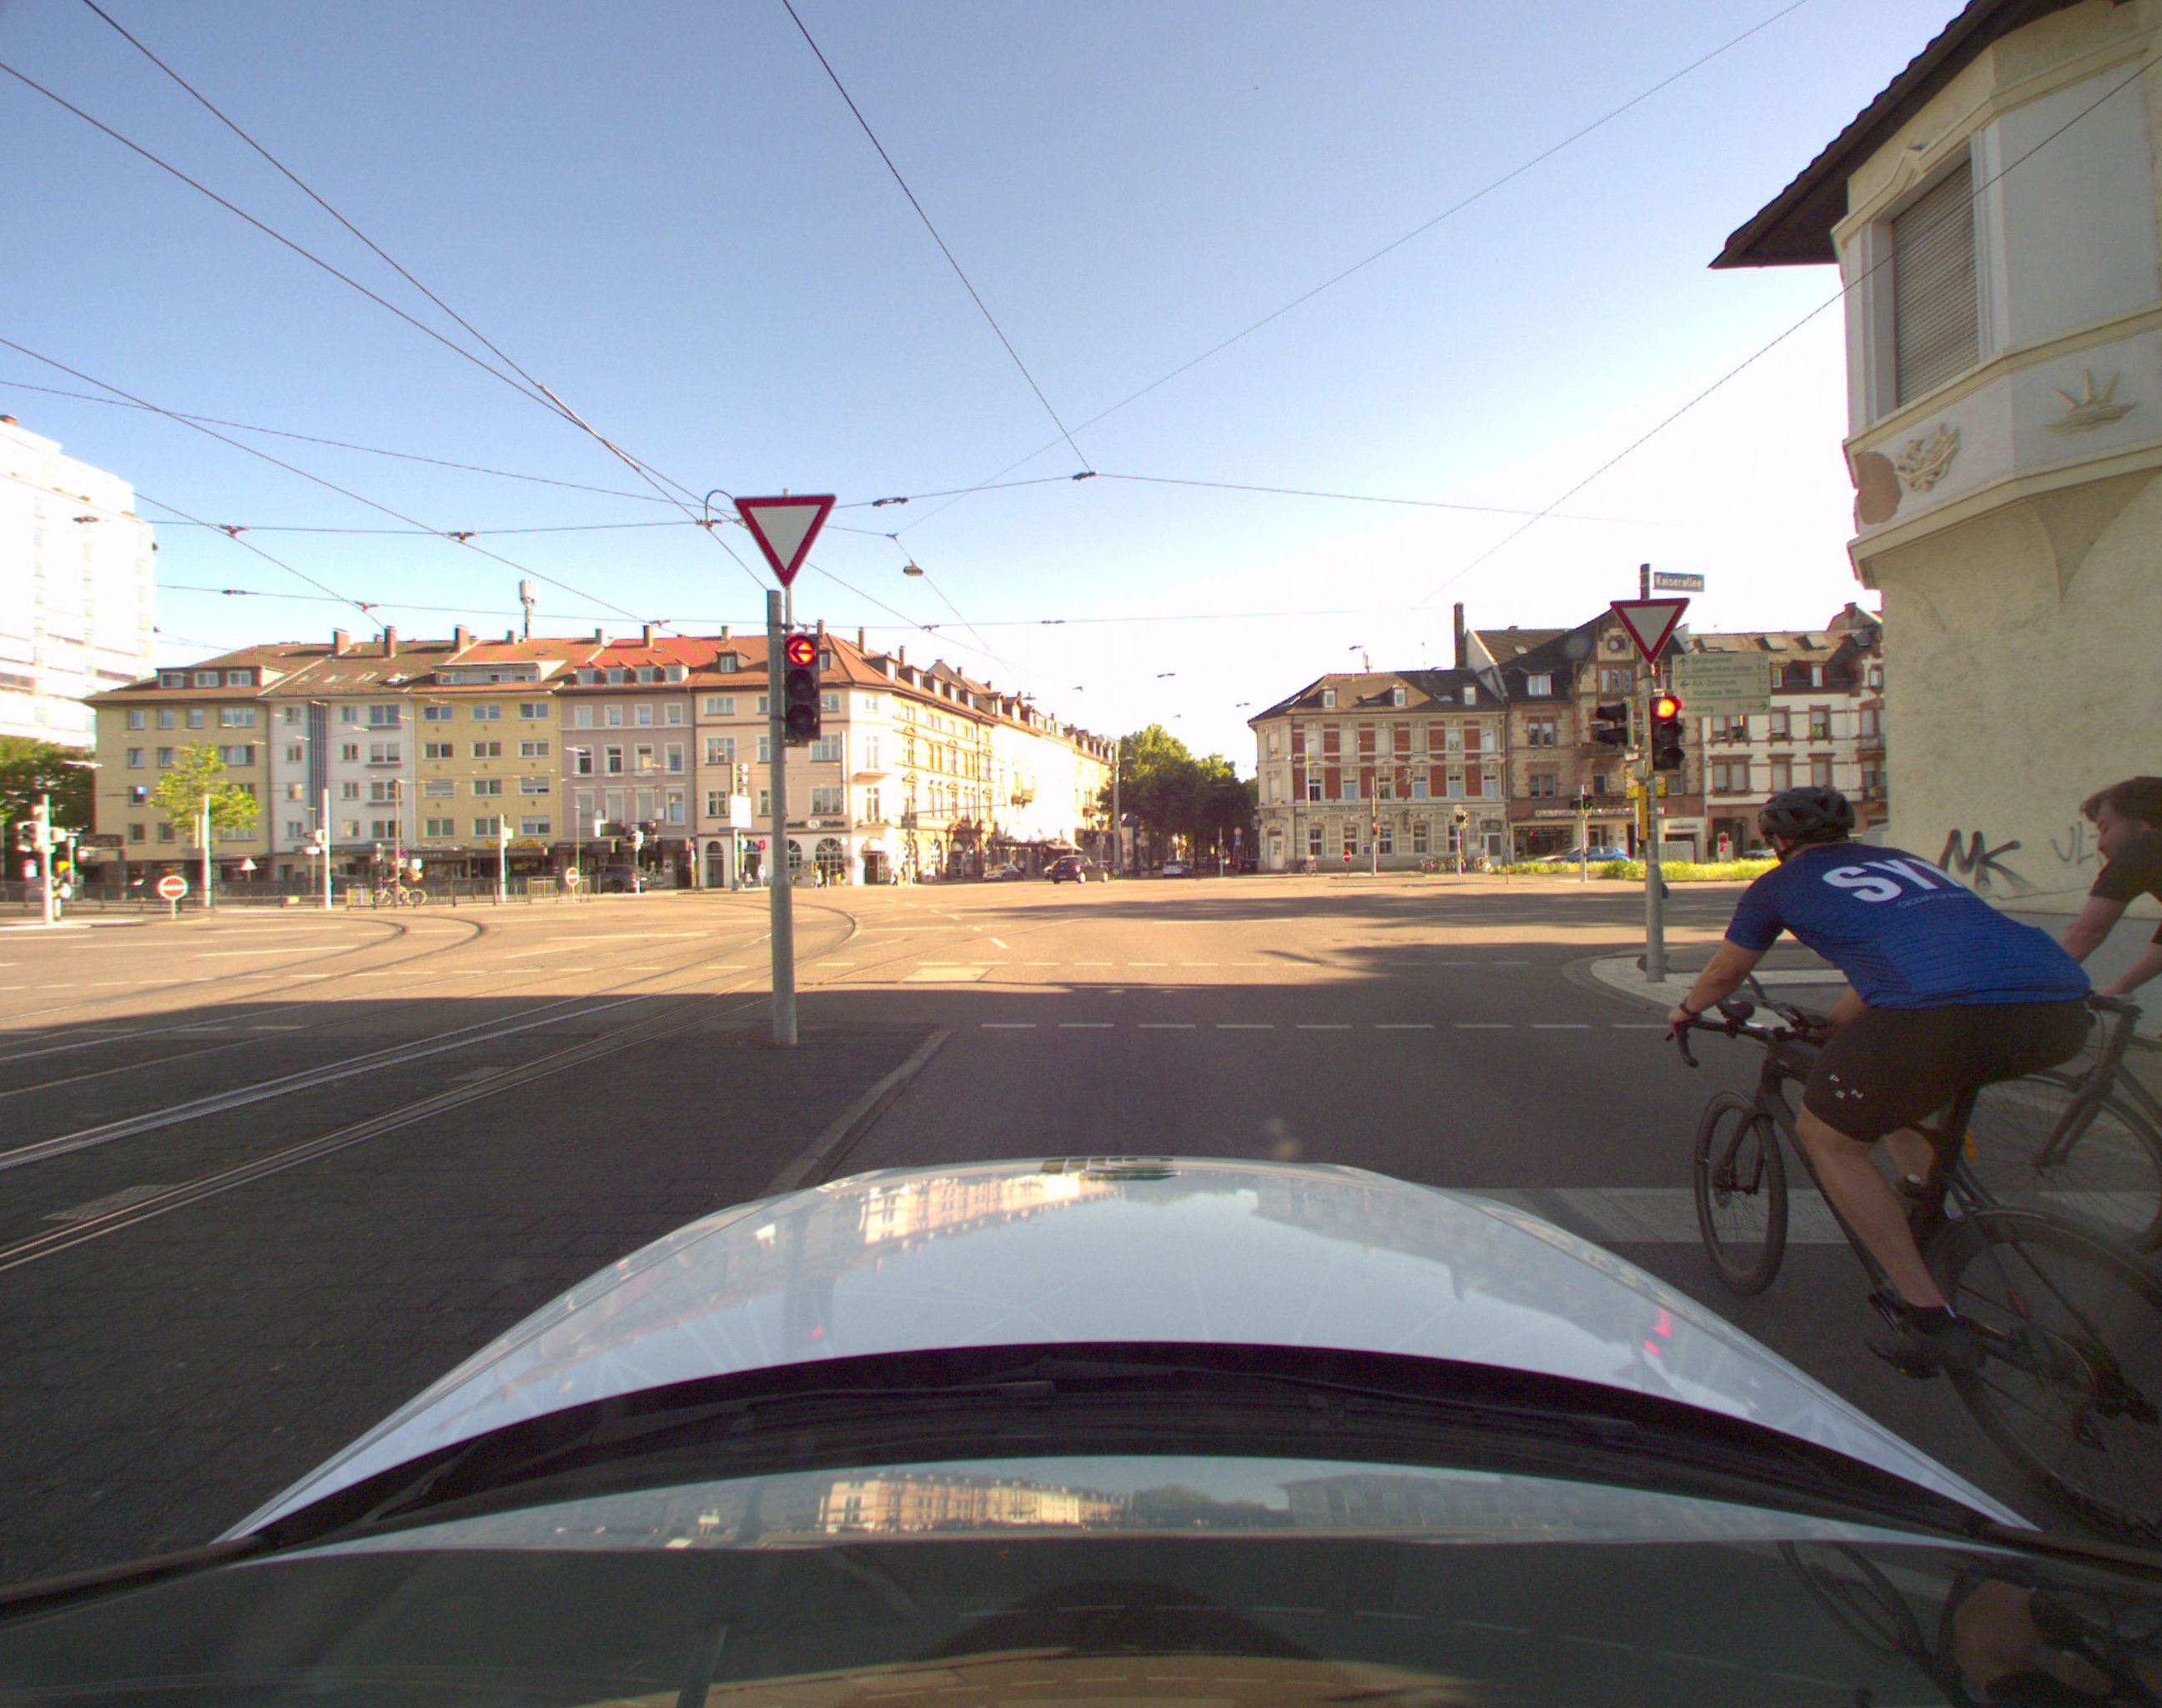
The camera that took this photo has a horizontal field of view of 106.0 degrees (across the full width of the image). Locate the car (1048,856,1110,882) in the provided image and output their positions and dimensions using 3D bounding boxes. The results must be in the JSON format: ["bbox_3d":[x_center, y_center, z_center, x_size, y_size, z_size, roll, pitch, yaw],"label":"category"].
[{"bbox_3d":[-0.047,0.775,44.377,1.737,1.362,3.879,-1,-1,28],"label":"car"}]

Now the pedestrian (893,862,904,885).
[{"bbox_3d":[-12.640,1.348,56.365,0.631,1.634,0.700,0,-1,-2],"label":"pedestrian"}]

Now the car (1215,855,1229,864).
[{"bbox_3d":[23.254,0.918,134.250,1.546,1.513,3.673,-1,-1,19],"label":"car"}]

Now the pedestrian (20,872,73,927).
[{"bbox_3d":[-31.587,1.389,24.870,0.697,1.634,0.681,0,-1,-3],"label":"pedestrian"}]

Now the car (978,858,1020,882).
[{"bbox_3d":[-6.742,1.319,67.394,1.977,1.904,4.019,-1,-1,19],"label":"car"}]

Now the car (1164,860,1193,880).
[{"bbox_3d":[7.823,1.233,65.011,1.759,1.530,4.015,-1,-1,14],"label":"car"}]

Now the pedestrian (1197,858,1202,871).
[{"bbox_3d":[16.257,1.421,111.748,0.635,1.796,0.492,-1,-1,14],"label":"pedestrian"}]

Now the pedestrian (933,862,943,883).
[{"bbox_3d":[-11.090,1.419,63.124,0.539,1.631,0.709,-1,-1,15],"label":"pedestrian"}]

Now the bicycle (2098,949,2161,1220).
[{"bbox_3d":[4.479,0.899,2.458,0.647,1.031,1.772,0,-1,3],"label":"bicycle"}]

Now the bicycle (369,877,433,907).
[{"bbox_3d":[-26.048,1.442,31.215,0.567,1.070,1.806,-1,-1,32],"label":"bicycle"}]

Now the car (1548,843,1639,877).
[{"bbox_3d":[28.339,0.325,45.135,3.769,1.778,2.000,0,-1,1],"label":"car"}]

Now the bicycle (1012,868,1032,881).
[{"bbox_3d":[-4.735,1.632,65.557,0.756,1.008,2.406,-1,-1,16],"label":"bicycle"}]

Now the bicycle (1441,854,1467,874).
[{"bbox_3d":[23.981,0.630,52.413,0.626,1.287,2.663,0,-1,3],"label":"bicycle"}]

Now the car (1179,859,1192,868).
[{"bbox_3d":[18.268,1.723,142.178,1.546,1.513,3.673,-1,-1,19],"label":"car"}]

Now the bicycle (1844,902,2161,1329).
[{"bbox_3d":[3.645,0.819,2.638,0.752,1.236,1.702,0,-1,0],"label":"bicycle"}]

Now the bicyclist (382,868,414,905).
[{"bbox_3d":[-26.095,1.223,31.139,0.553,1.366,0.808,-1,-1,33],"label":"bicyclist"}]

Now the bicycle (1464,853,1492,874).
[{"bbox_3d":[25.498,0.595,52.381,0.626,1.287,2.663,0,-1,3],"label":"bicycle"}]

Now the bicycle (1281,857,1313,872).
[{"bbox_3d":[15.078,0.748,56.890,2.040,0.998,0.631,-1,-1,4],"label":"bicycle"}]

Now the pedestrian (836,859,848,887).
[{"bbox_3d":[-16.025,1.264,54.608,0.631,1.881,0.465,0,-1,-2],"label":"pedestrian"}]

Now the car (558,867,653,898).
[{"bbox_3d":[-26.579,1.576,45.606,4.150,1.618,1.954,0,-1,1],"label":"car"}]

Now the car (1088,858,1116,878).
[{"bbox_3d":[2.098,1.402,80.059,1.979,1.904,4.015,-1,-1,14],"label":"car"}]

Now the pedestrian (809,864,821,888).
[{"bbox_3d":[-17.715,1.460,54.247,0.631,1.612,0.465,0,-1,-2],"label":"pedestrian"}]

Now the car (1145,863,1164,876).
[{"bbox_3d":[11.033,2.323,122.487,1.977,1.904,4.019,-1,-1,19],"label":"car"}]

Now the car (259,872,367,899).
[{"bbox_3d":[-42.581,1.731,45.225,3.979,1.376,1.997,0,-1,-4],"label":"car"}]

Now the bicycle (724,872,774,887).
[{"bbox_3d":[-23.428,1.786,57.465,3.118,0.980,1.002,0,-1,1],"label":"bicycle"}]

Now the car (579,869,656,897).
[{"bbox_3d":[-30.592,1.914,53.817,3.962,1.670,2.006,-2,0,10],"label":"car"}]

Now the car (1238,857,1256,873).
[{"bbox_3d":[16.816,1.136,82.360,1.680,1.565,3.855,-1,-1,14],"label":"car"}]

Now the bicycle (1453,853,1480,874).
[{"bbox_3d":[24.771,0.614,52.385,0.626,1.287,2.663,0,-1,3],"label":"bicycle"}]

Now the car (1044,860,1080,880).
[{"bbox_3d":[-1.570,1.326,67.387,1.979,1.618,4.015,-1,-1,14],"label":"car"}]

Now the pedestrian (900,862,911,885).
[{"bbox_3d":[-12.402,1.356,57.534,0.631,1.634,0.700,0,-1,-2],"label":"pedestrian"}]

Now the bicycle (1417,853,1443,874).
[{"bbox_3d":[22.458,0.612,52.434,0.689,1.287,2.663,0,-1,3],"label":"bicycle"}]

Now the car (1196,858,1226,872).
[{"bbox_3d":[18.339,1.563,114.722,3.955,1.904,2.009,-1,-1,17],"label":"car"}]

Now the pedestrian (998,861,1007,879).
[{"bbox_3d":[-7.179,1.423,74.563,0.539,1.631,0.709,-1,-1,15],"label":"pedestrian"}]

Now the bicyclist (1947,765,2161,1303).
[{"bbox_3d":[3.626,0.537,2.582,0.803,1.606,0.883,0,-1,0],"label":"bicyclist"}]

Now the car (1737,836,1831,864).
[{"bbox_3d":[45.307,-0.233,52.565,4.349,1.778,2.000,0,-1,1],"label":"car"}]

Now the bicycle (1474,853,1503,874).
[{"bbox_3d":[26.194,0.596,52.352,0.626,1.287,2.663,0,-1,3],"label":"bicycle"}]

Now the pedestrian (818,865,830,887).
[{"bbox_3d":[-16.934,1.450,53.733,0.631,1.477,0.465,0,-1,-2],"label":"pedestrian"}]

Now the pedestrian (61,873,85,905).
[{"bbox_3d":[-52.059,1.789,42.066,0.523,1.628,0.577,0,-1,0],"label":"pedestrian"}]

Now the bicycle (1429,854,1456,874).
[{"bbox_3d":[23.258,0.634,52.420,0.689,1.287,2.663,0,-1,3],"label":"bicycle"}]

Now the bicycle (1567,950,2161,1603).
[{"bbox_3d":[2.227,0.926,2.443,0.623,1.085,1.705,0,-1,5],"label":"bicycle"}]

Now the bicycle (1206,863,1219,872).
[{"bbox_3d":[15.993,1.649,98.862,0.630,1.085,1.687,0,-1,-28],"label":"bicycle"}]

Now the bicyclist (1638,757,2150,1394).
[{"bbox_3d":[2.211,0.513,2.365,0.635,1.494,0.885,0,1,6],"label":"bicyclist"}]

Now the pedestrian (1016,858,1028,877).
[{"bbox_3d":[-4.763,1.102,65.489,0.814,1.512,0.601,-1,-1,16],"label":"pedestrian"}]
